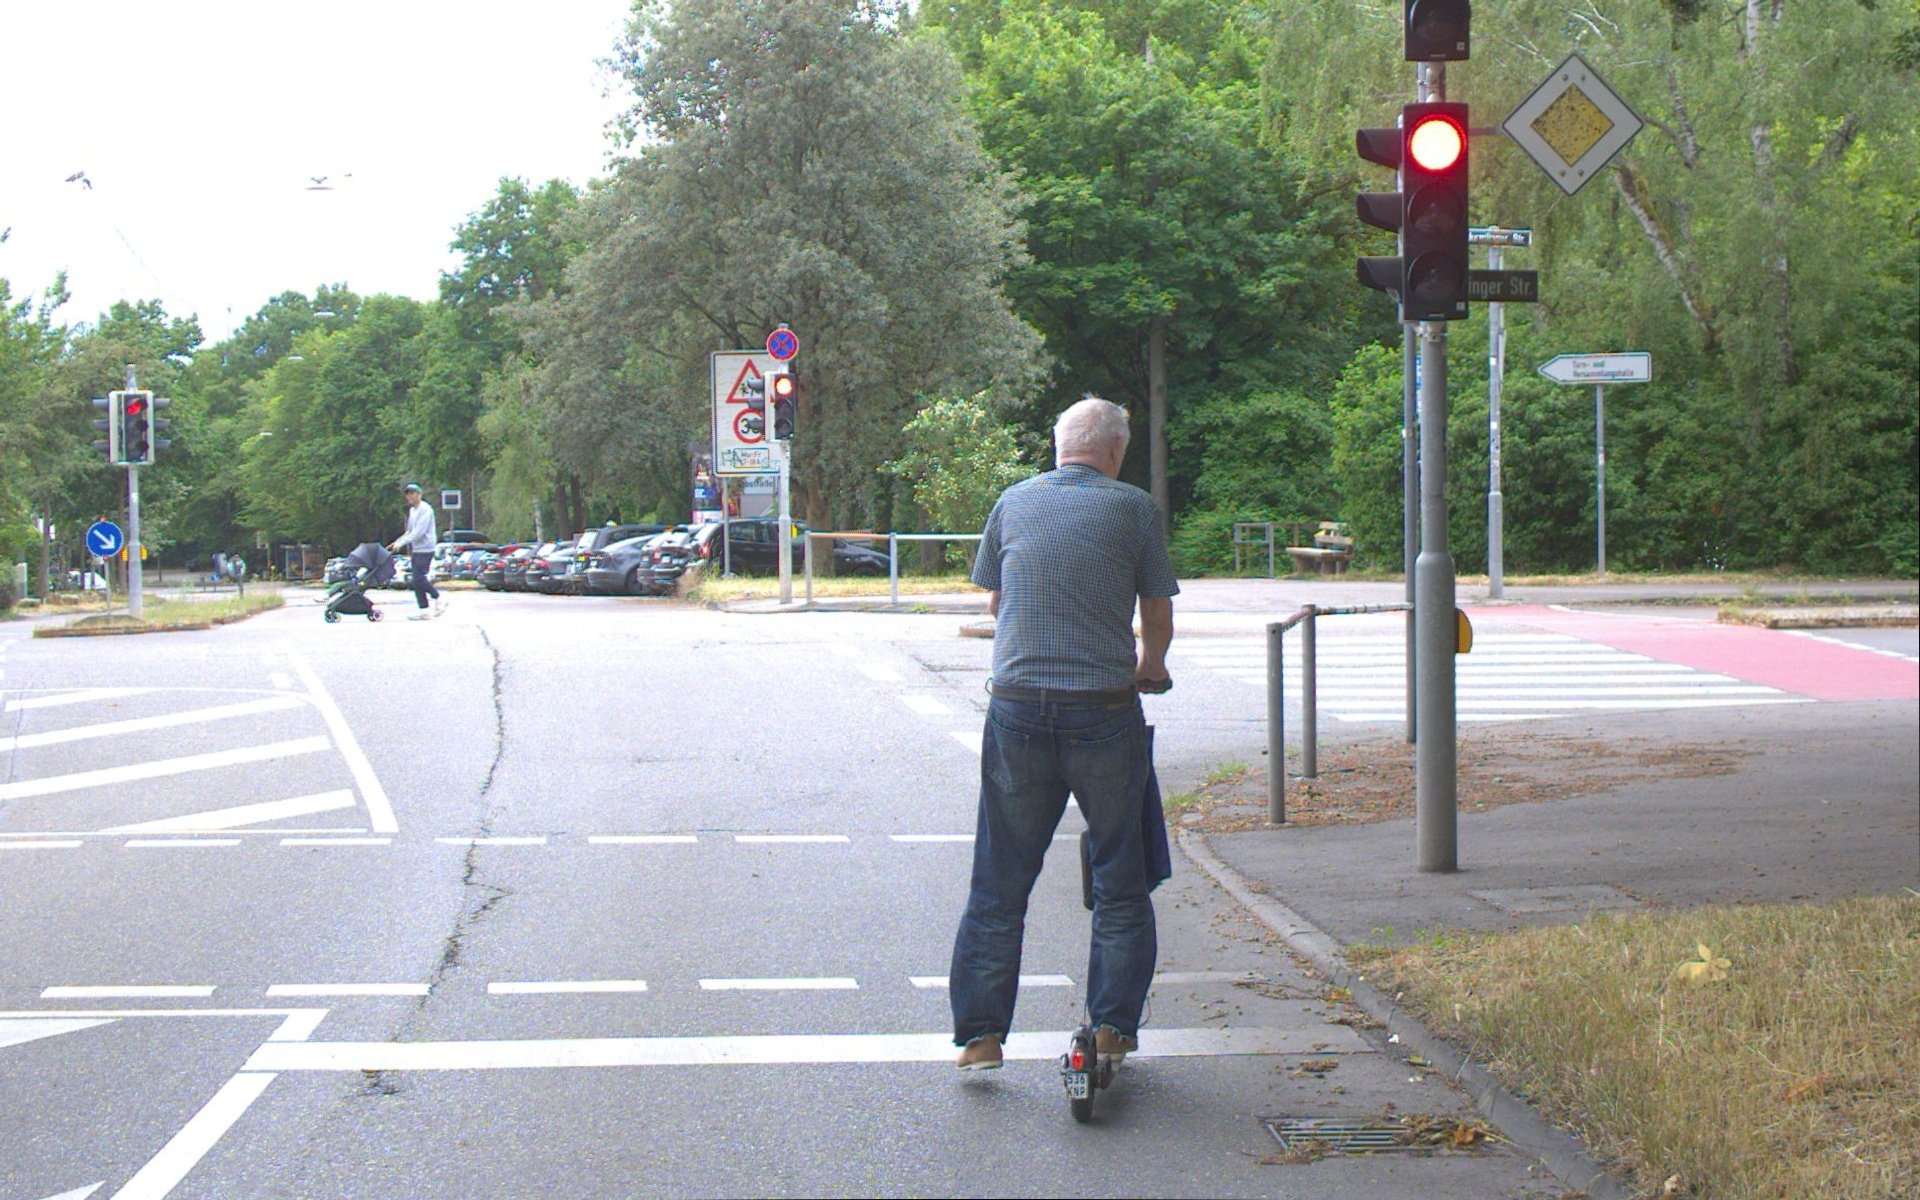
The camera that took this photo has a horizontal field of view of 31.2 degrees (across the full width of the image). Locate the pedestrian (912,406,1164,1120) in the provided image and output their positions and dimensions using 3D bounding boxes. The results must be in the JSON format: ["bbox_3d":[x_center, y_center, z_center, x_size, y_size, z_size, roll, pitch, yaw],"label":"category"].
[{"bbox_3d":[0.210,0.415,8.937,0.573,1.807,0.420,-1,1,8],"label":"pedestrian"}]

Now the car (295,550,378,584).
[{"bbox_3d":[-32.124,-1.707,177.161,3.841,1.605,1.729,-3,2,-23],"label":"car"}]

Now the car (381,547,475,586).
[{"bbox_3d":[-24.078,-1.523,155.631,3.841,1.605,1.729,-3,2,-23],"label":"car"}]

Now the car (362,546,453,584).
[{"bbox_3d":[-25.685,-1.644,159.763,3.841,1.605,1.729,-3,2,-23],"label":"car"}]

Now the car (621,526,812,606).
[{"bbox_3d":[-5.412,-0.762,76.427,3.840,1.605,1.729,-3,2,-21],"label":"car"}]

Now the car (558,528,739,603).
[{"bbox_3d":[-7.334,-0.825,80.931,3.841,1.605,1.729,-3,2,-23],"label":"car"}]

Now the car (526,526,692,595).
[{"bbox_3d":[-9.015,-1.010,88.271,3.841,1.605,1.729,-3,2,-23],"label":"car"}]

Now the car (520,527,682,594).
[{"bbox_3d":[-9.465,-1.047,90.682,3.841,1.605,1.729,-3,2,-23],"label":"car"}]

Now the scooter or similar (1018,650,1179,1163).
[{"bbox_3d":[0.367,0.742,8.784,0.282,1.174,1.177,-1,1,7],"label":"scooter or similar"}]

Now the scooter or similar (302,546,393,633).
[{"bbox_3d":[-7.848,-0.138,44.072,1.107,1.077,0.578,-1,1,-8],"label":"scooter or similar"}]

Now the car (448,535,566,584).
[{"bbox_3d":[-16.268,-1.448,123.484,3.841,1.605,1.729,-3,2,-23],"label":"car"}]

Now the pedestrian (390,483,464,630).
[{"bbox_3d":[-6.859,-0.568,44.217,0.884,1.856,0.574,-1,1,-9],"label":"pedestrian"}]

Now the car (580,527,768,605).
[{"bbox_3d":[-6.521,-0.783,78.393,3.841,1.605,1.728,-3,2,-24],"label":"car"}]
